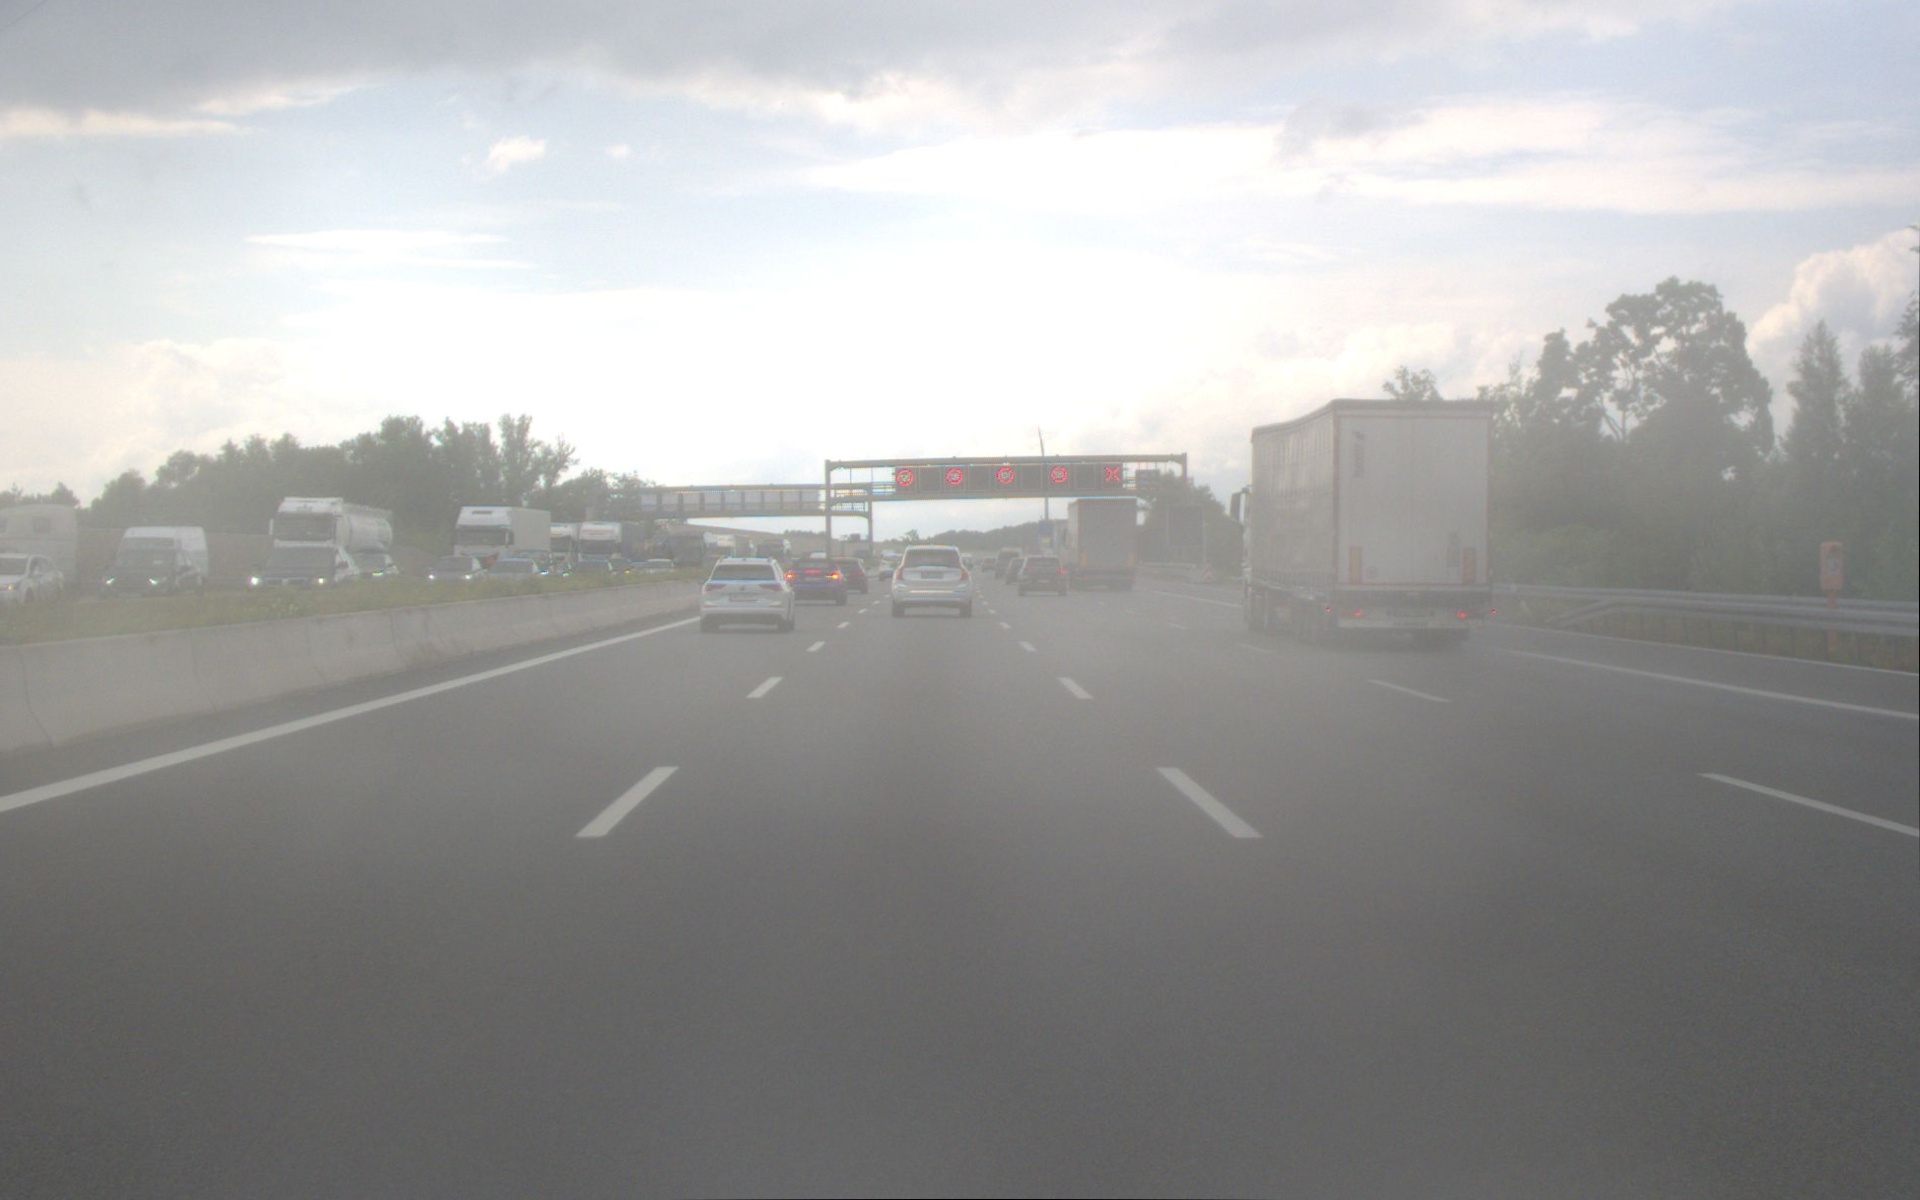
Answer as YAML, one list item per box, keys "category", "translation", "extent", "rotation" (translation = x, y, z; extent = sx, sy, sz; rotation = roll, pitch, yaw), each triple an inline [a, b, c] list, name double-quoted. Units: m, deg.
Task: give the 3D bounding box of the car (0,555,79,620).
- category: "car"
  translation: [-22.025, -0.321, 80.180]
  extent: [1.765, 1.449, 4.943]
  rotation: [1, 1, -1]

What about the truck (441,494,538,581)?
- category: "truck"
  translation: [-22.519, -2.969, 164.794]
  extent: [3.660, 4.034, 6.524]
  rotation: [1, 1, 0]

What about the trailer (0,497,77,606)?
- category: "trailer"
  translation: [-26.250, -1.348, 95.451]
  extent: [2.247, 2.952, 4.901]
  rotation: [1, 1, -1]

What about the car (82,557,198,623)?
- category: "car"
  translation: [-18.960, -0.246, 79.650]
  extent: [1.765, 1.449, 4.234]
  rotation: [1, 1, -1]

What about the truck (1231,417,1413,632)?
- category: "truck"
  translation: [7.067, -1.472, 67.930]
  extent: [2.961, 4.006, 6.589]
  rotation: [1, 1, 1]

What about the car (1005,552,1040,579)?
- category: "car"
  translation: [3.386, -1.887, 185.627]
  extent: [1.836, 1.436, 4.055]
  rotation: [1, 1, 0]

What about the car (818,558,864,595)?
- category: "car"
  translation: [-4.758, -0.962, 137.532]
  extent: [1.772, 1.436, 4.056]
  rotation: [0, 1, -2]

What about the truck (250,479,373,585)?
- category: "truck"
  translation: [-27.354, -2.854, 145.469]
  extent: [3.660, 4.304, 8.238]
  rotation: [1, 1, -1]

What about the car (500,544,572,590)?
- category: "car"
  translation: [-18.853, -1.477, 153.192]
  extent: [2.280, 1.961, 6.086]
  rotation: [1, 1, 1]

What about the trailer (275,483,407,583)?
- category: "trailer"
  translation: [-27.435, -2.936, 153.081]
  extent: [3.660, 4.222, 12.468]
  rotation: [1, 1, -1]

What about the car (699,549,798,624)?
- category: "car"
  translation: [-4.148, -0.290, 67.914]
  extent: [1.772, 1.436, 3.874]
  rotation: [0, 1, -1]

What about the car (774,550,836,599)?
- category: "car"
  translation: [-4.647, -0.786, 103.624]
  extent: [1.772, 1.436, 4.056]
  rotation: [0, 1, -1]

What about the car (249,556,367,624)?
- category: "car"
  translation: [-14.757, -0.246, 77.975]
  extent: [1.826, 1.449, 4.943]
  rotation: [1, 1, -1]

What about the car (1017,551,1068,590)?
- category: "car"
  translation: [3.108, -1.142, 130.535]
  extent: [1.836, 1.436, 4.055]
  rotation: [1, 1, 0]

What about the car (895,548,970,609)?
- category: "car"
  translation: [-0.692, -0.550, 84.490]
  extent: [1.772, 1.436, 4.056]
  rotation: [0, 1, -1]

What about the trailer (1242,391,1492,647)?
- category: "trailer"
  translation: [6.992, -1.383, 61.274]
  extent: [2.961, 4.006, 14.118]
  rotation: [1, 1, 1]

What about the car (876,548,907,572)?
- category: "car"
  translation: [-4.193, -2.445, 210.209]
  extent: [1.772, 1.436, 4.055]
  rotation: [0, 1, 0]

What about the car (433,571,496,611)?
- category: "car"
  translation: [-18.623, -0.345, 129.329]
  extent: [1.787, 1.449, 4.565]
  rotation: [1, 1, -1]

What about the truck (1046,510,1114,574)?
- category: "truck"
  translation: [8.076, -3.870, 232.964]
  extent: [4.244, 4.162, 11.989]
  rotation: [1, 1, 0]

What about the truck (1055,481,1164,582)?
- category: "truck"
  translation: [6.609, -3.030, 154.628]
  extent: [4.180, 4.273, 12.613]
  rotation: [1, 1, 0]
